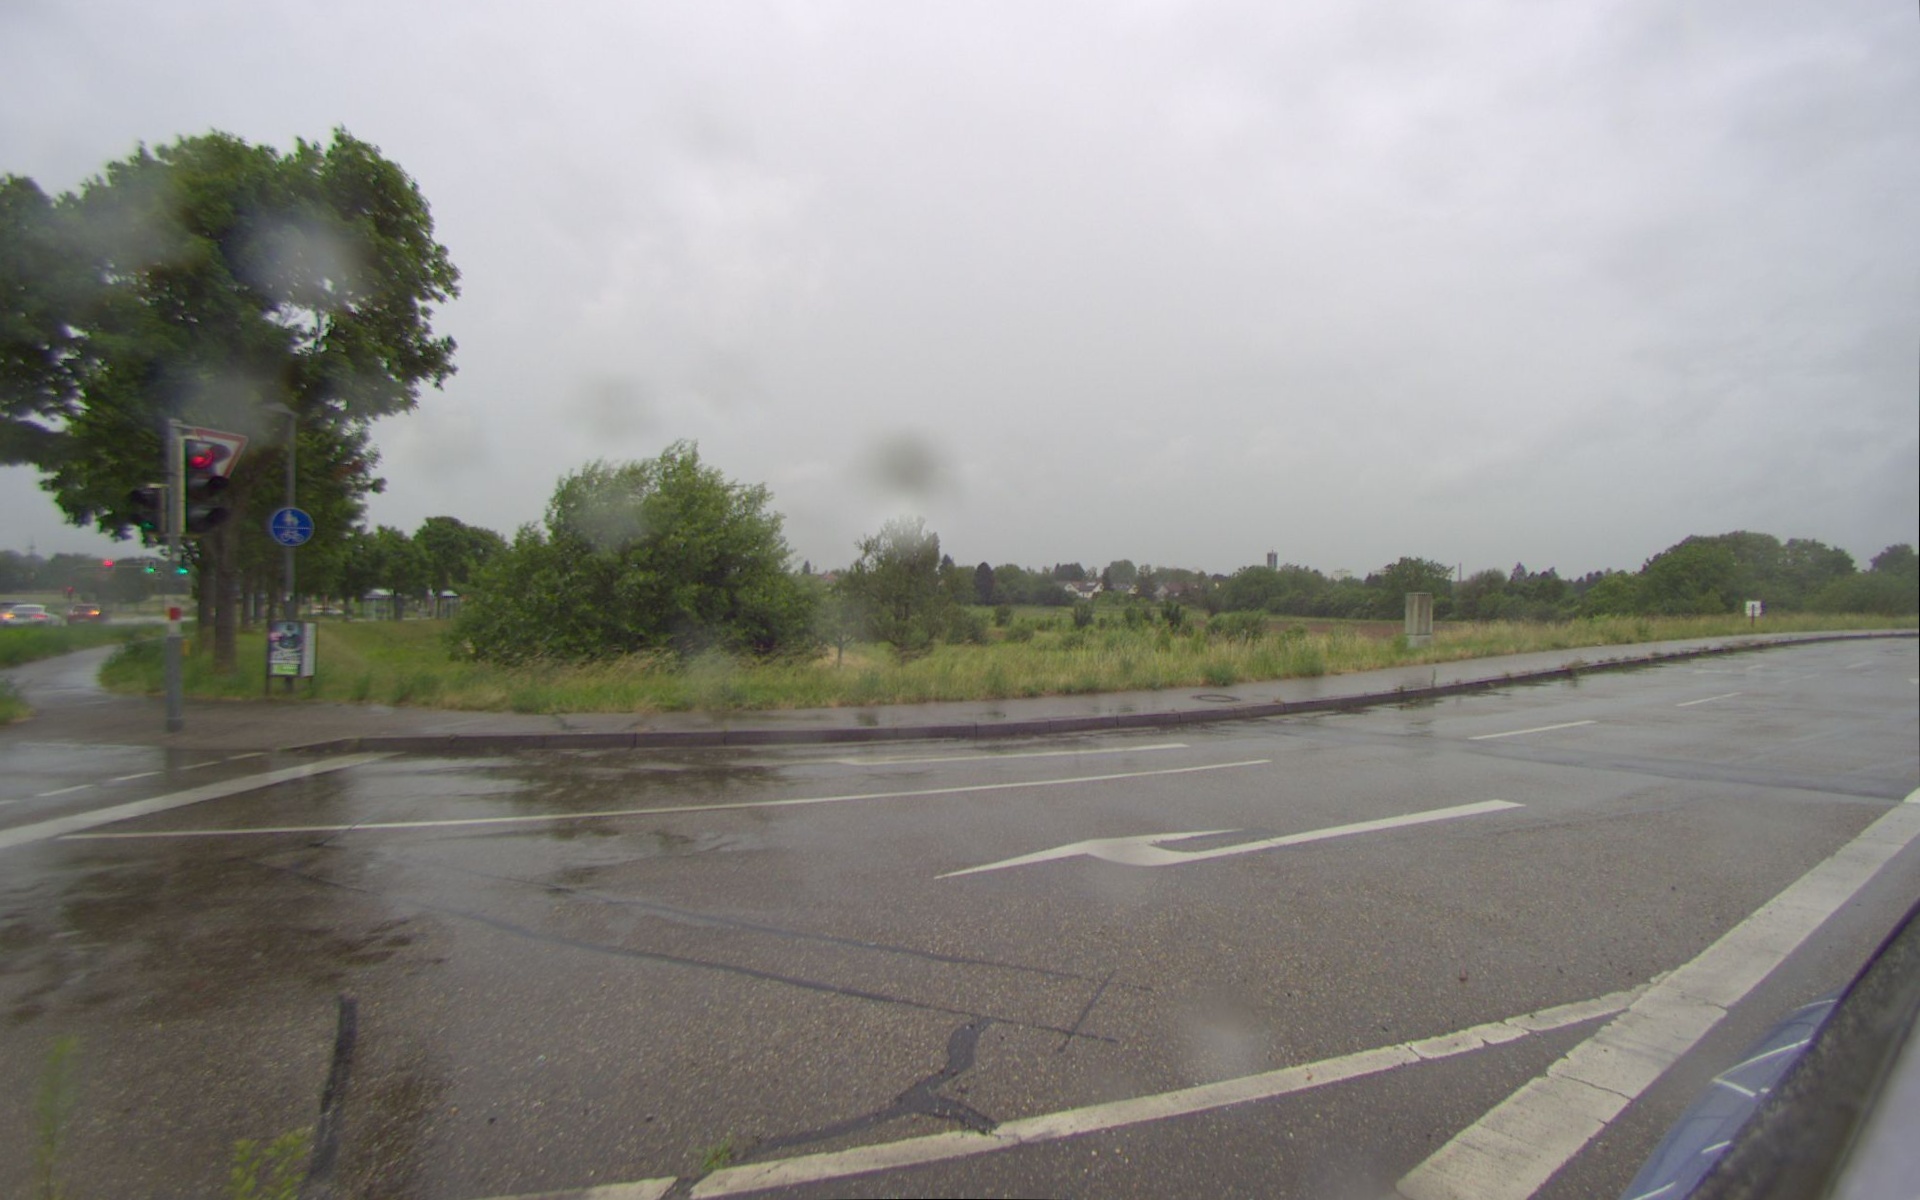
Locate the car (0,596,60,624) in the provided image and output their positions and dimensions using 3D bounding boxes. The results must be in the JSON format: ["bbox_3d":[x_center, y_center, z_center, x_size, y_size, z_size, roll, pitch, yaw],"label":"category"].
[{"bbox_3d":[-49.664,0.482,53.958,1.843,1.371,4.055,0,1,-32],"label":"car"}]

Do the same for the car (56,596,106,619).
[{"bbox_3d":[-56.786,0.488,65.444,1.843,1.371,4.055,0,1,-32],"label":"car"}]
